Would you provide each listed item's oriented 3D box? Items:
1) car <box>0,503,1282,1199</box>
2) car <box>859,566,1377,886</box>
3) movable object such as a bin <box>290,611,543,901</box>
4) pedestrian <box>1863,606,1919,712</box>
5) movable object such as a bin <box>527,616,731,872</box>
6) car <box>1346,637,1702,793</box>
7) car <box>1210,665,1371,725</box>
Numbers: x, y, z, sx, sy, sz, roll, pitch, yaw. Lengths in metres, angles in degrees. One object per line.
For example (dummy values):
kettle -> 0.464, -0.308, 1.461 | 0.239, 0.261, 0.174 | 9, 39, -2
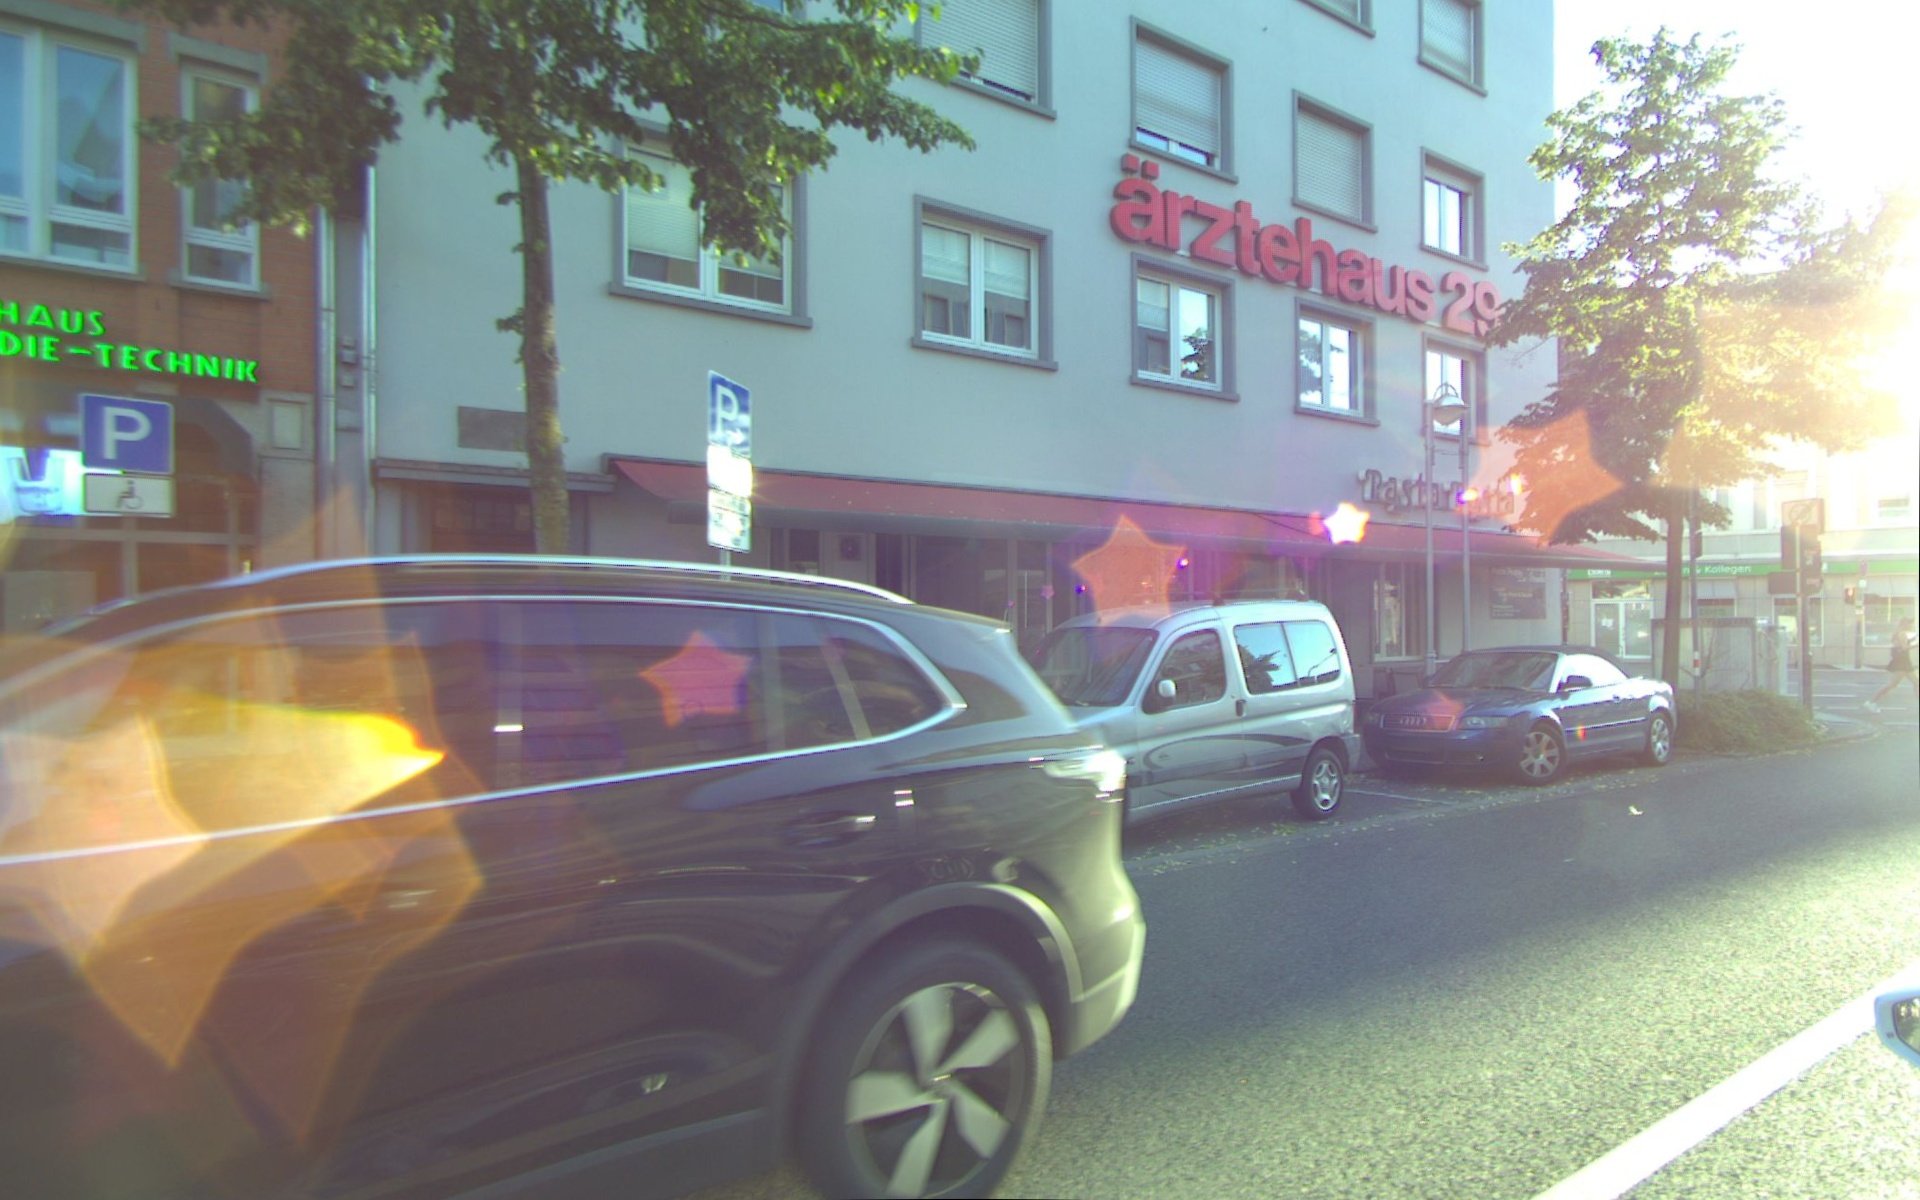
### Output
car -> -1.268, 0.734, 2.593 | 4.249, 1.697, 1.720 | 0, -2, -33
car -> 1.359, 0.829, 7.891 | 4.014, 1.912, 1.658 | 1, -3, -36
movable object such as a bin -> -3.476, 0.901, 6.443 | 1.324, 1.641, 0.775 | 1, 1, -37
pedestrian -> 17.188, 1.064, 18.306 | 0.988, 1.885, 0.637 | -2, -2, 37
movable object such as a bin -> -2.371, 0.949, 7.210 | 1.197, 1.641, 0.775 | 1, 1, -37
car -> 6.363, 1.149, 11.196 | 4.236, 1.434, 1.713 | 1, -4, -34
car -> 9.986, 2.829, 30.493 | 4.345, 1.493, 1.813 | -1, -1, 33
